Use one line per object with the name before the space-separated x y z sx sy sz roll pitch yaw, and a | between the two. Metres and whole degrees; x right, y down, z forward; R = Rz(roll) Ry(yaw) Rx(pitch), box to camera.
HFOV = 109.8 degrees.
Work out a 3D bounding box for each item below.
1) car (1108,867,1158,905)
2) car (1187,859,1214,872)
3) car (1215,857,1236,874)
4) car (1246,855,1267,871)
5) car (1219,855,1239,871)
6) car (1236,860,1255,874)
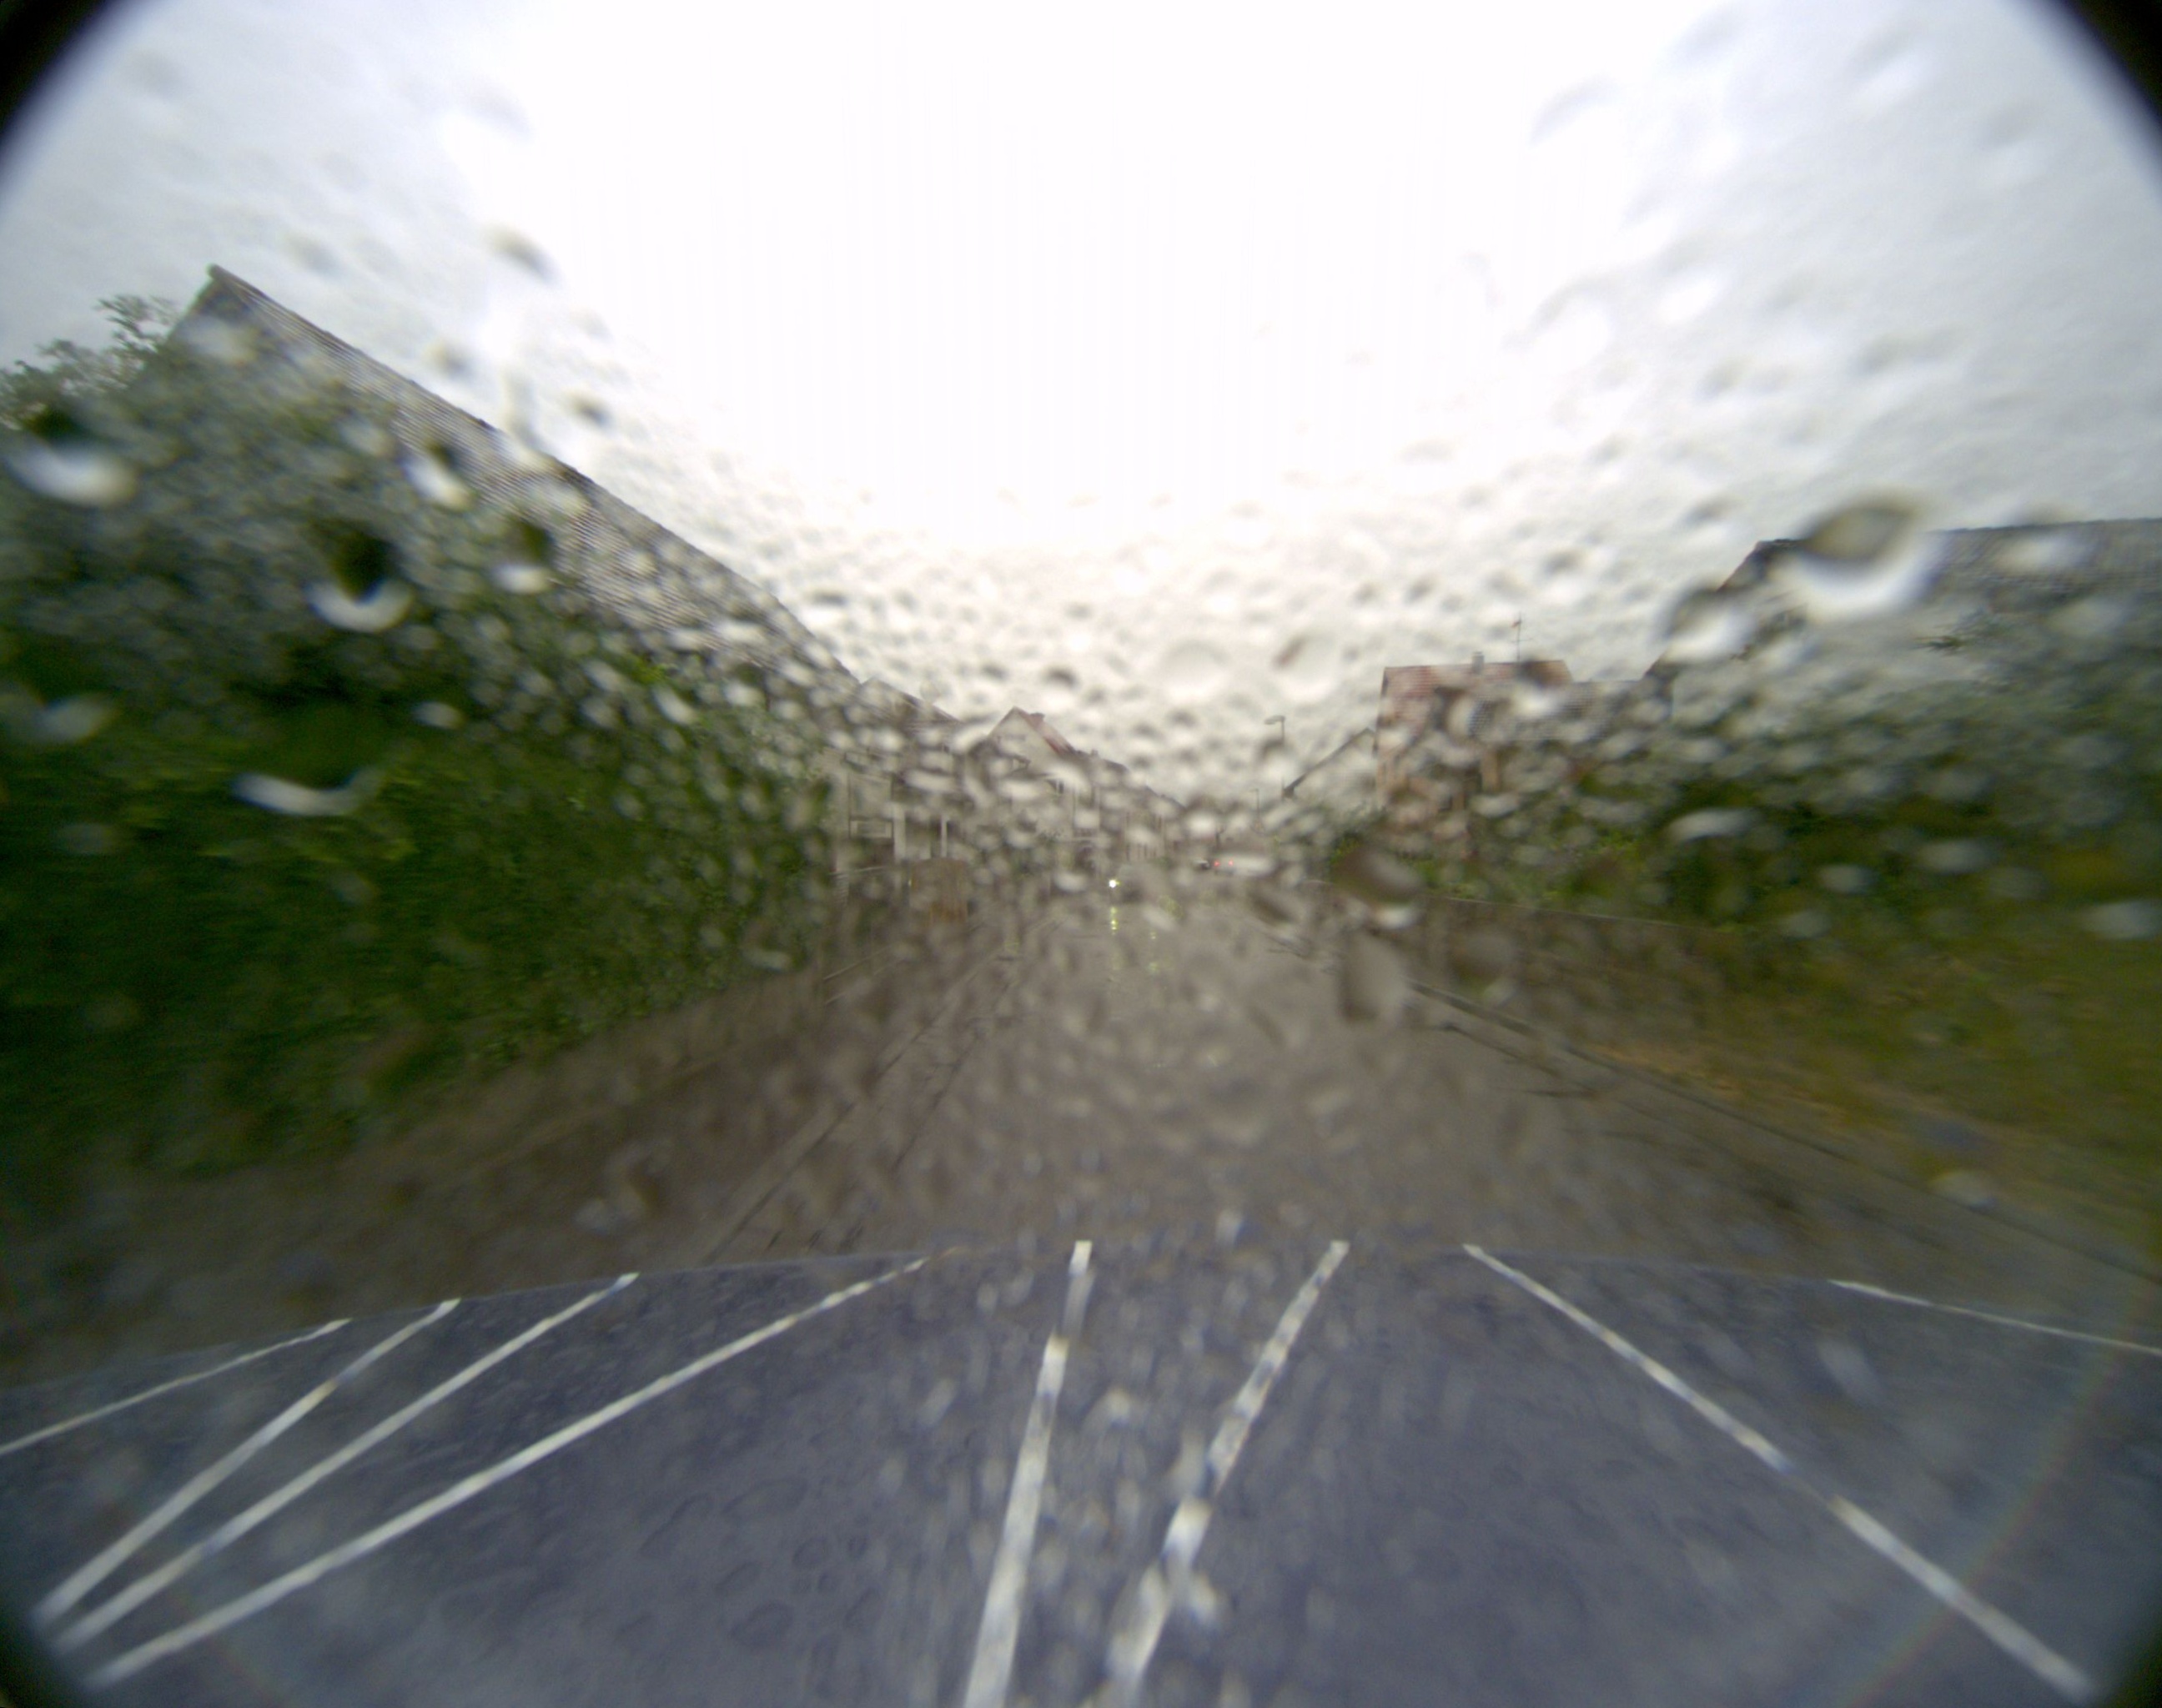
car | 2.040 1.187 29.154 1.666 1.290 3.520 -2 0 7
car | 14.648 1.388 93.184 1.892 1.566 3.887 -3 0 -13
car | 13.906 1.108 72.934 1.702 1.538 3.855 2 0 14
car | 20.055 1.025 86.554 1.813 1.674 4.189 1 1 20
car | 16.770 1.016 85.821 1.836 1.663 5.202 1 1 14
car | 21.837 1.691 100.670 1.813 1.587 4.189 1 1 20
